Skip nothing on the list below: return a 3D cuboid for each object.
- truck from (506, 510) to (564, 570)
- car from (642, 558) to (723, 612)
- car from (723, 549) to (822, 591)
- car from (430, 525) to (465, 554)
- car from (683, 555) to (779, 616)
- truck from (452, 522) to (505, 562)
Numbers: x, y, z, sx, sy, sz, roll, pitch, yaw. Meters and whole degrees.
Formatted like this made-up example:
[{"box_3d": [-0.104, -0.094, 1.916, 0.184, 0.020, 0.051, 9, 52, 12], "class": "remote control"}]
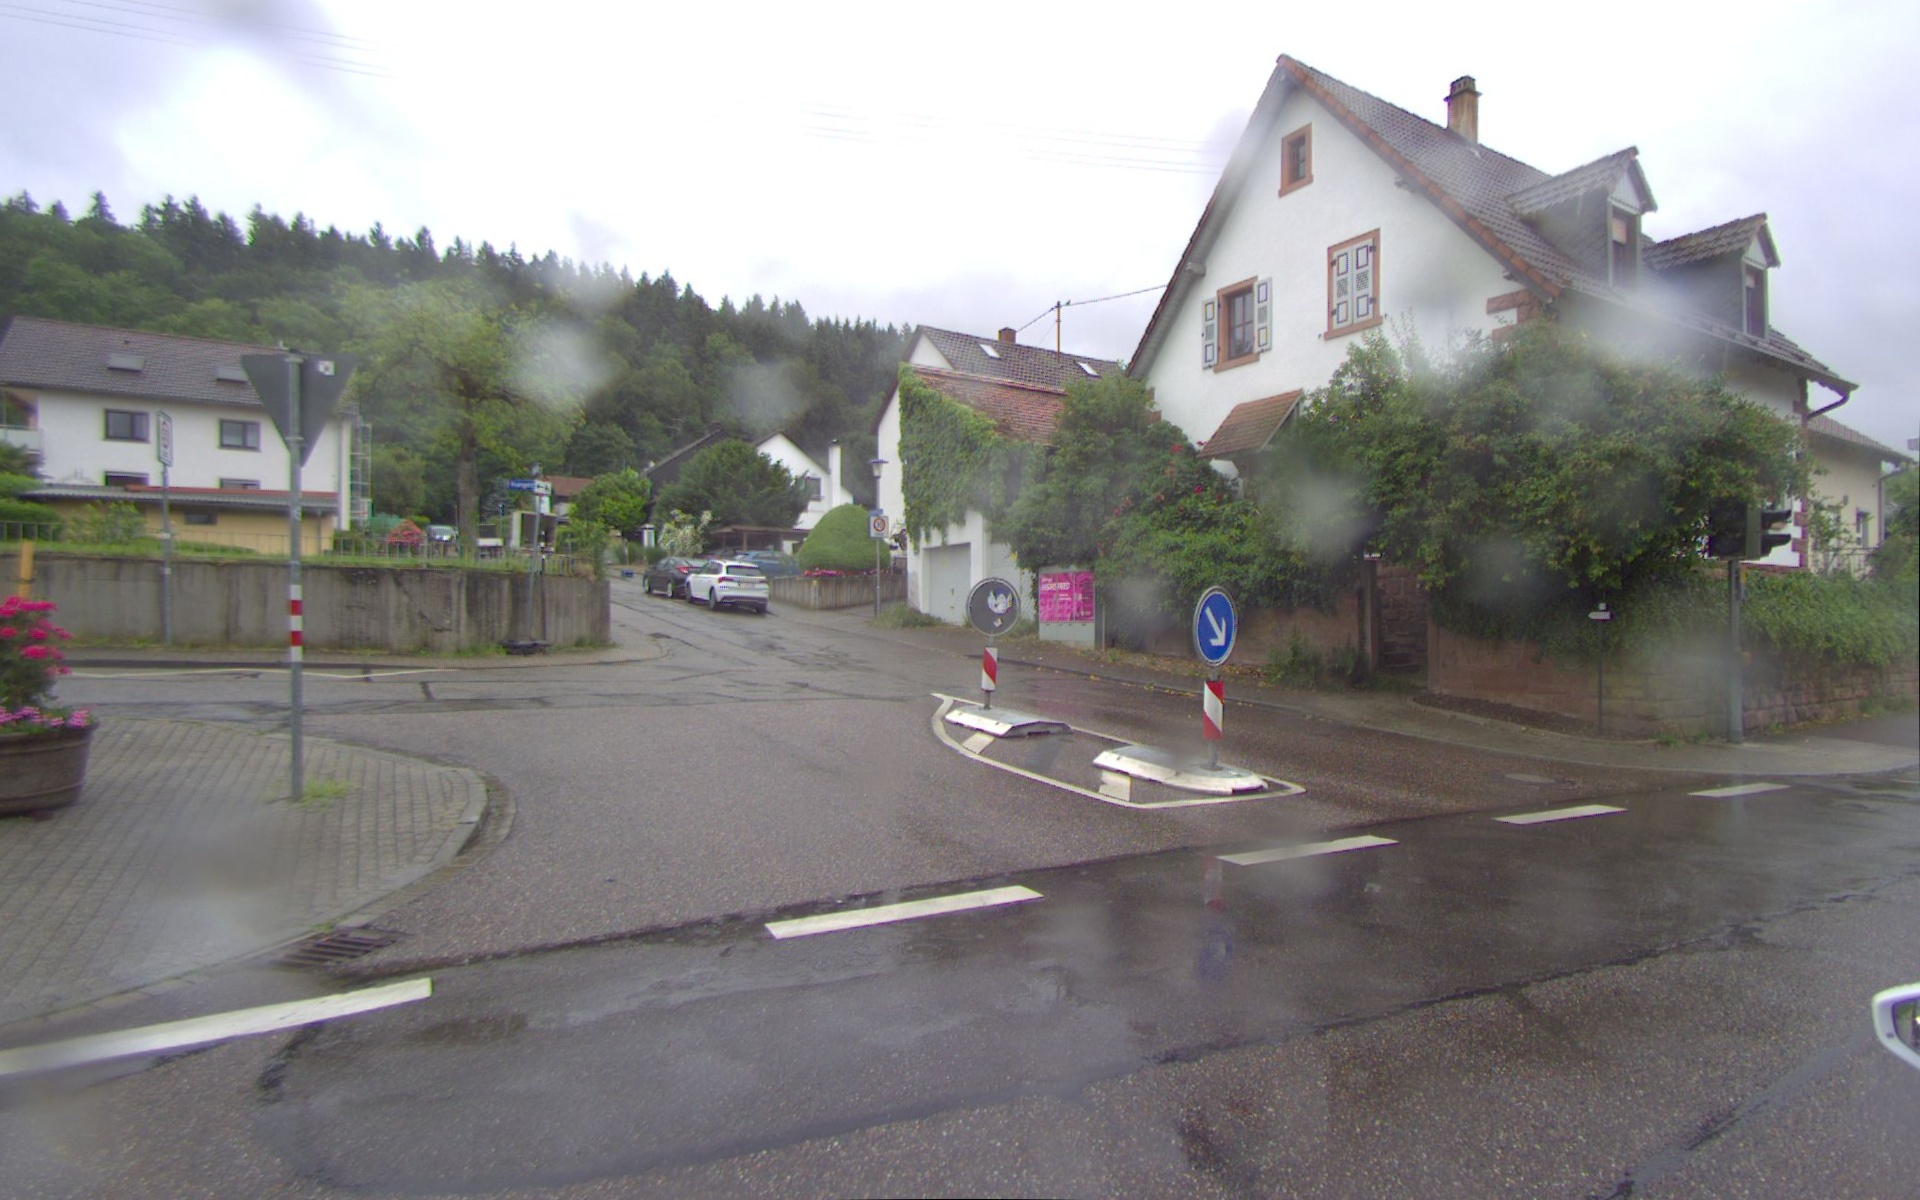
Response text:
[{"box_3d": [-26.429, -3.650, 62.332, 2.425, 3.397, 6.603, 1, 1, -30], "class": "truck"}, {"box_3d": [-10.141, -0.572, 36.496, 1.878, 1.535, 3.859, 2, 5, -30], "class": "car"}, {"box_3d": [-8.285, -1.308, 44.441, 3.848, 1.534, 1.884, 2, 5, -32], "class": "car"}, {"box_3d": [-39.964, -4.695, 78.228, 1.897, 2.040, 3.961, 2, 1, -34], "class": "car"}, {"box_3d": [-7.421, -0.486, 32.253, 1.878, 1.535, 3.859, 2, 5, -30], "class": "car"}, {"box_3d": [-28.911, -3.447, 60.245, 2.274, 2.155, 6.028, 2, 1, -31], "class": "truck"}]
